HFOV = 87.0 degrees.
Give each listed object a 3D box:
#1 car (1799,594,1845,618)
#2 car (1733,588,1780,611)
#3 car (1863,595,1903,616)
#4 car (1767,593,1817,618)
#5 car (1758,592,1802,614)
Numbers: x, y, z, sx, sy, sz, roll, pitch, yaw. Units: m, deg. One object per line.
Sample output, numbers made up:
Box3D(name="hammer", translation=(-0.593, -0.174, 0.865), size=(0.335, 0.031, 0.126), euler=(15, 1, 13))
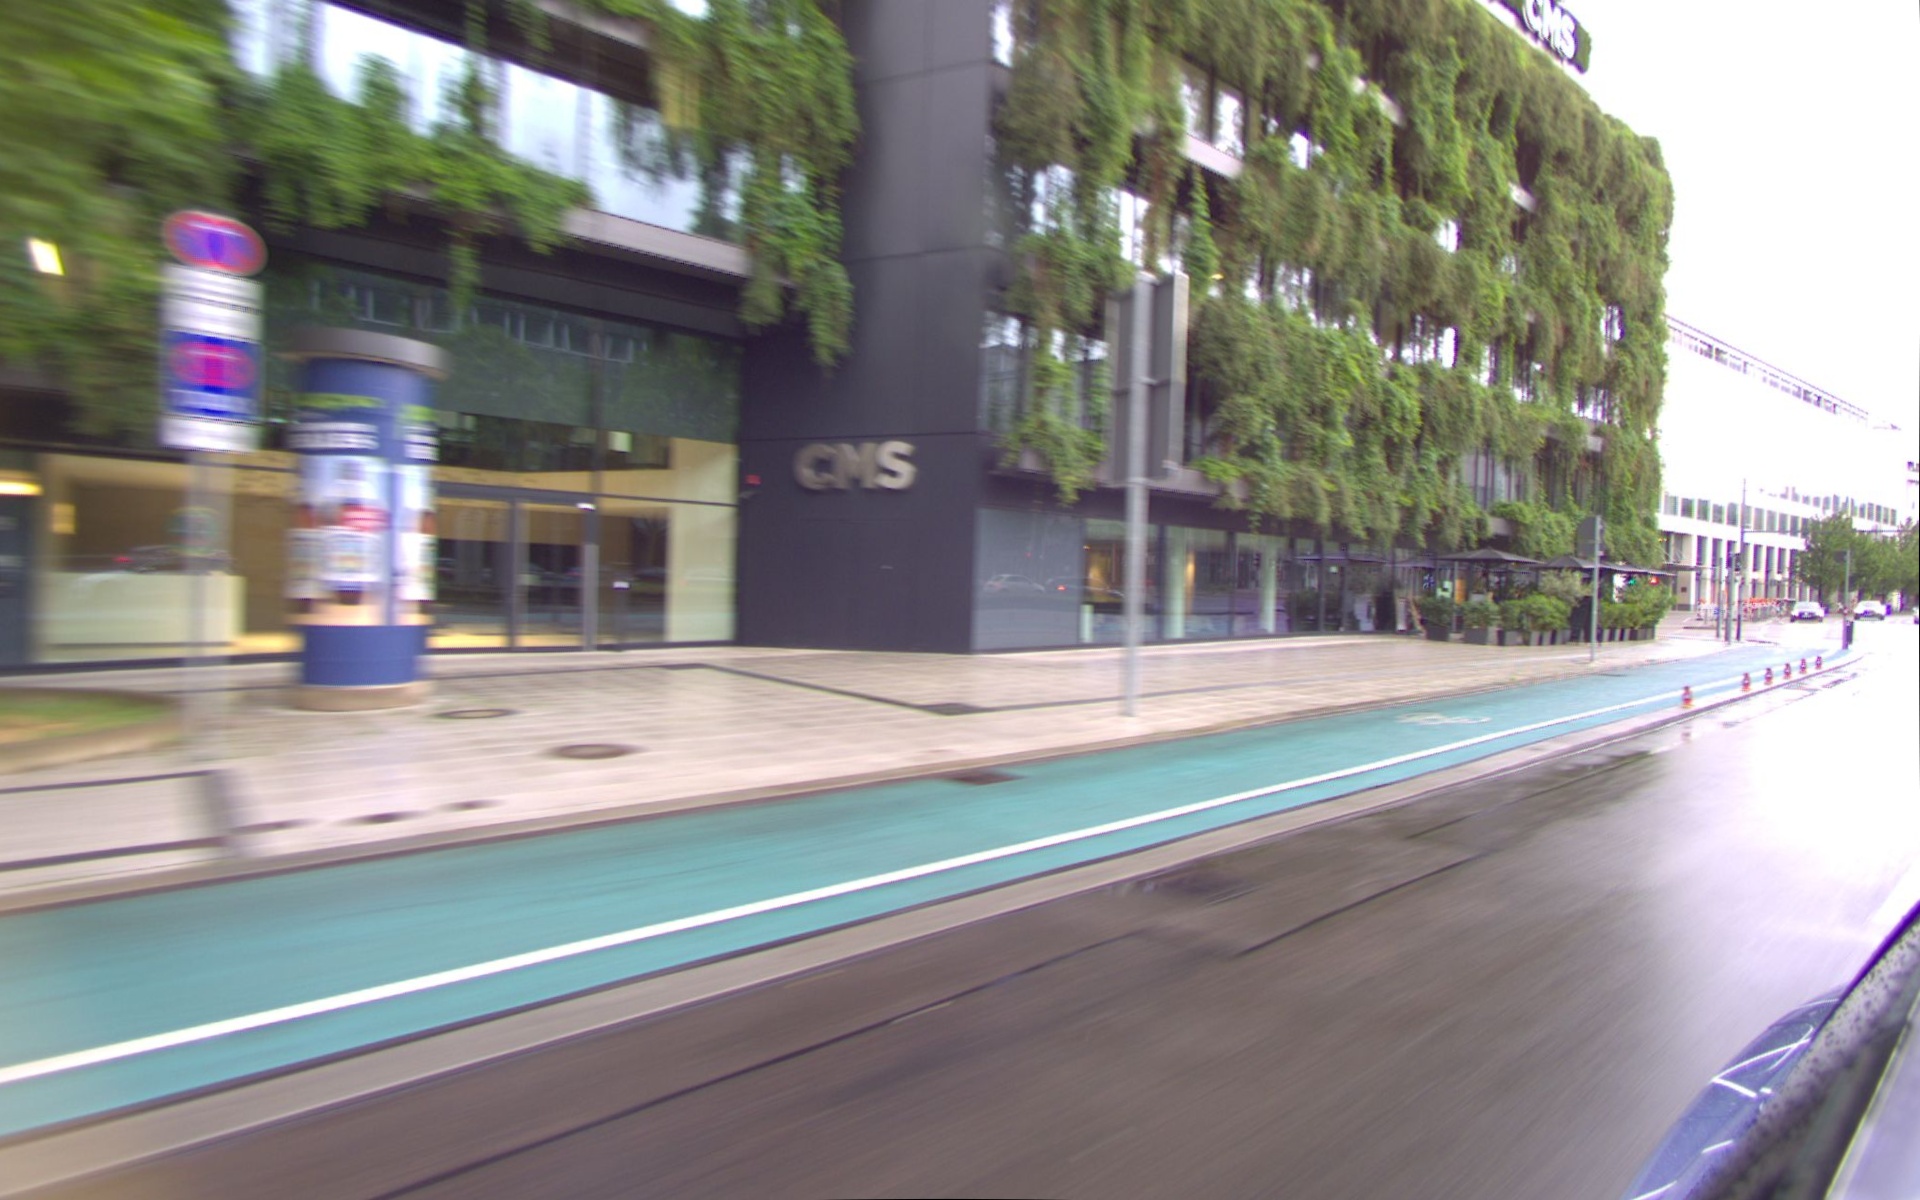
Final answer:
Box3D(name="car", translation=(60.035, 0.401, 70.473), size=(4.588, 1.571, 1.738), euler=(0, 2, -40))
Box3D(name="car", translation=(56.172, -0.065, 71.331), size=(4.588, 1.571, 1.738), euler=(0, 1, -40))
Box3D(name="car", translation=(72.954, 0.425, 79.963), size=(4.588, 1.571, 1.738), euler=(0, 1, -40))
Box3D(name="car", translation=(54.360, 0.350, 66.118), size=(4.588, 1.571, 1.738), euler=(0, 1, -40))
Box3D(name="car", translation=(61.927, 0.196, 76.426), size=(4.588, 1.571, 1.738), euler=(0, 1, -40))
